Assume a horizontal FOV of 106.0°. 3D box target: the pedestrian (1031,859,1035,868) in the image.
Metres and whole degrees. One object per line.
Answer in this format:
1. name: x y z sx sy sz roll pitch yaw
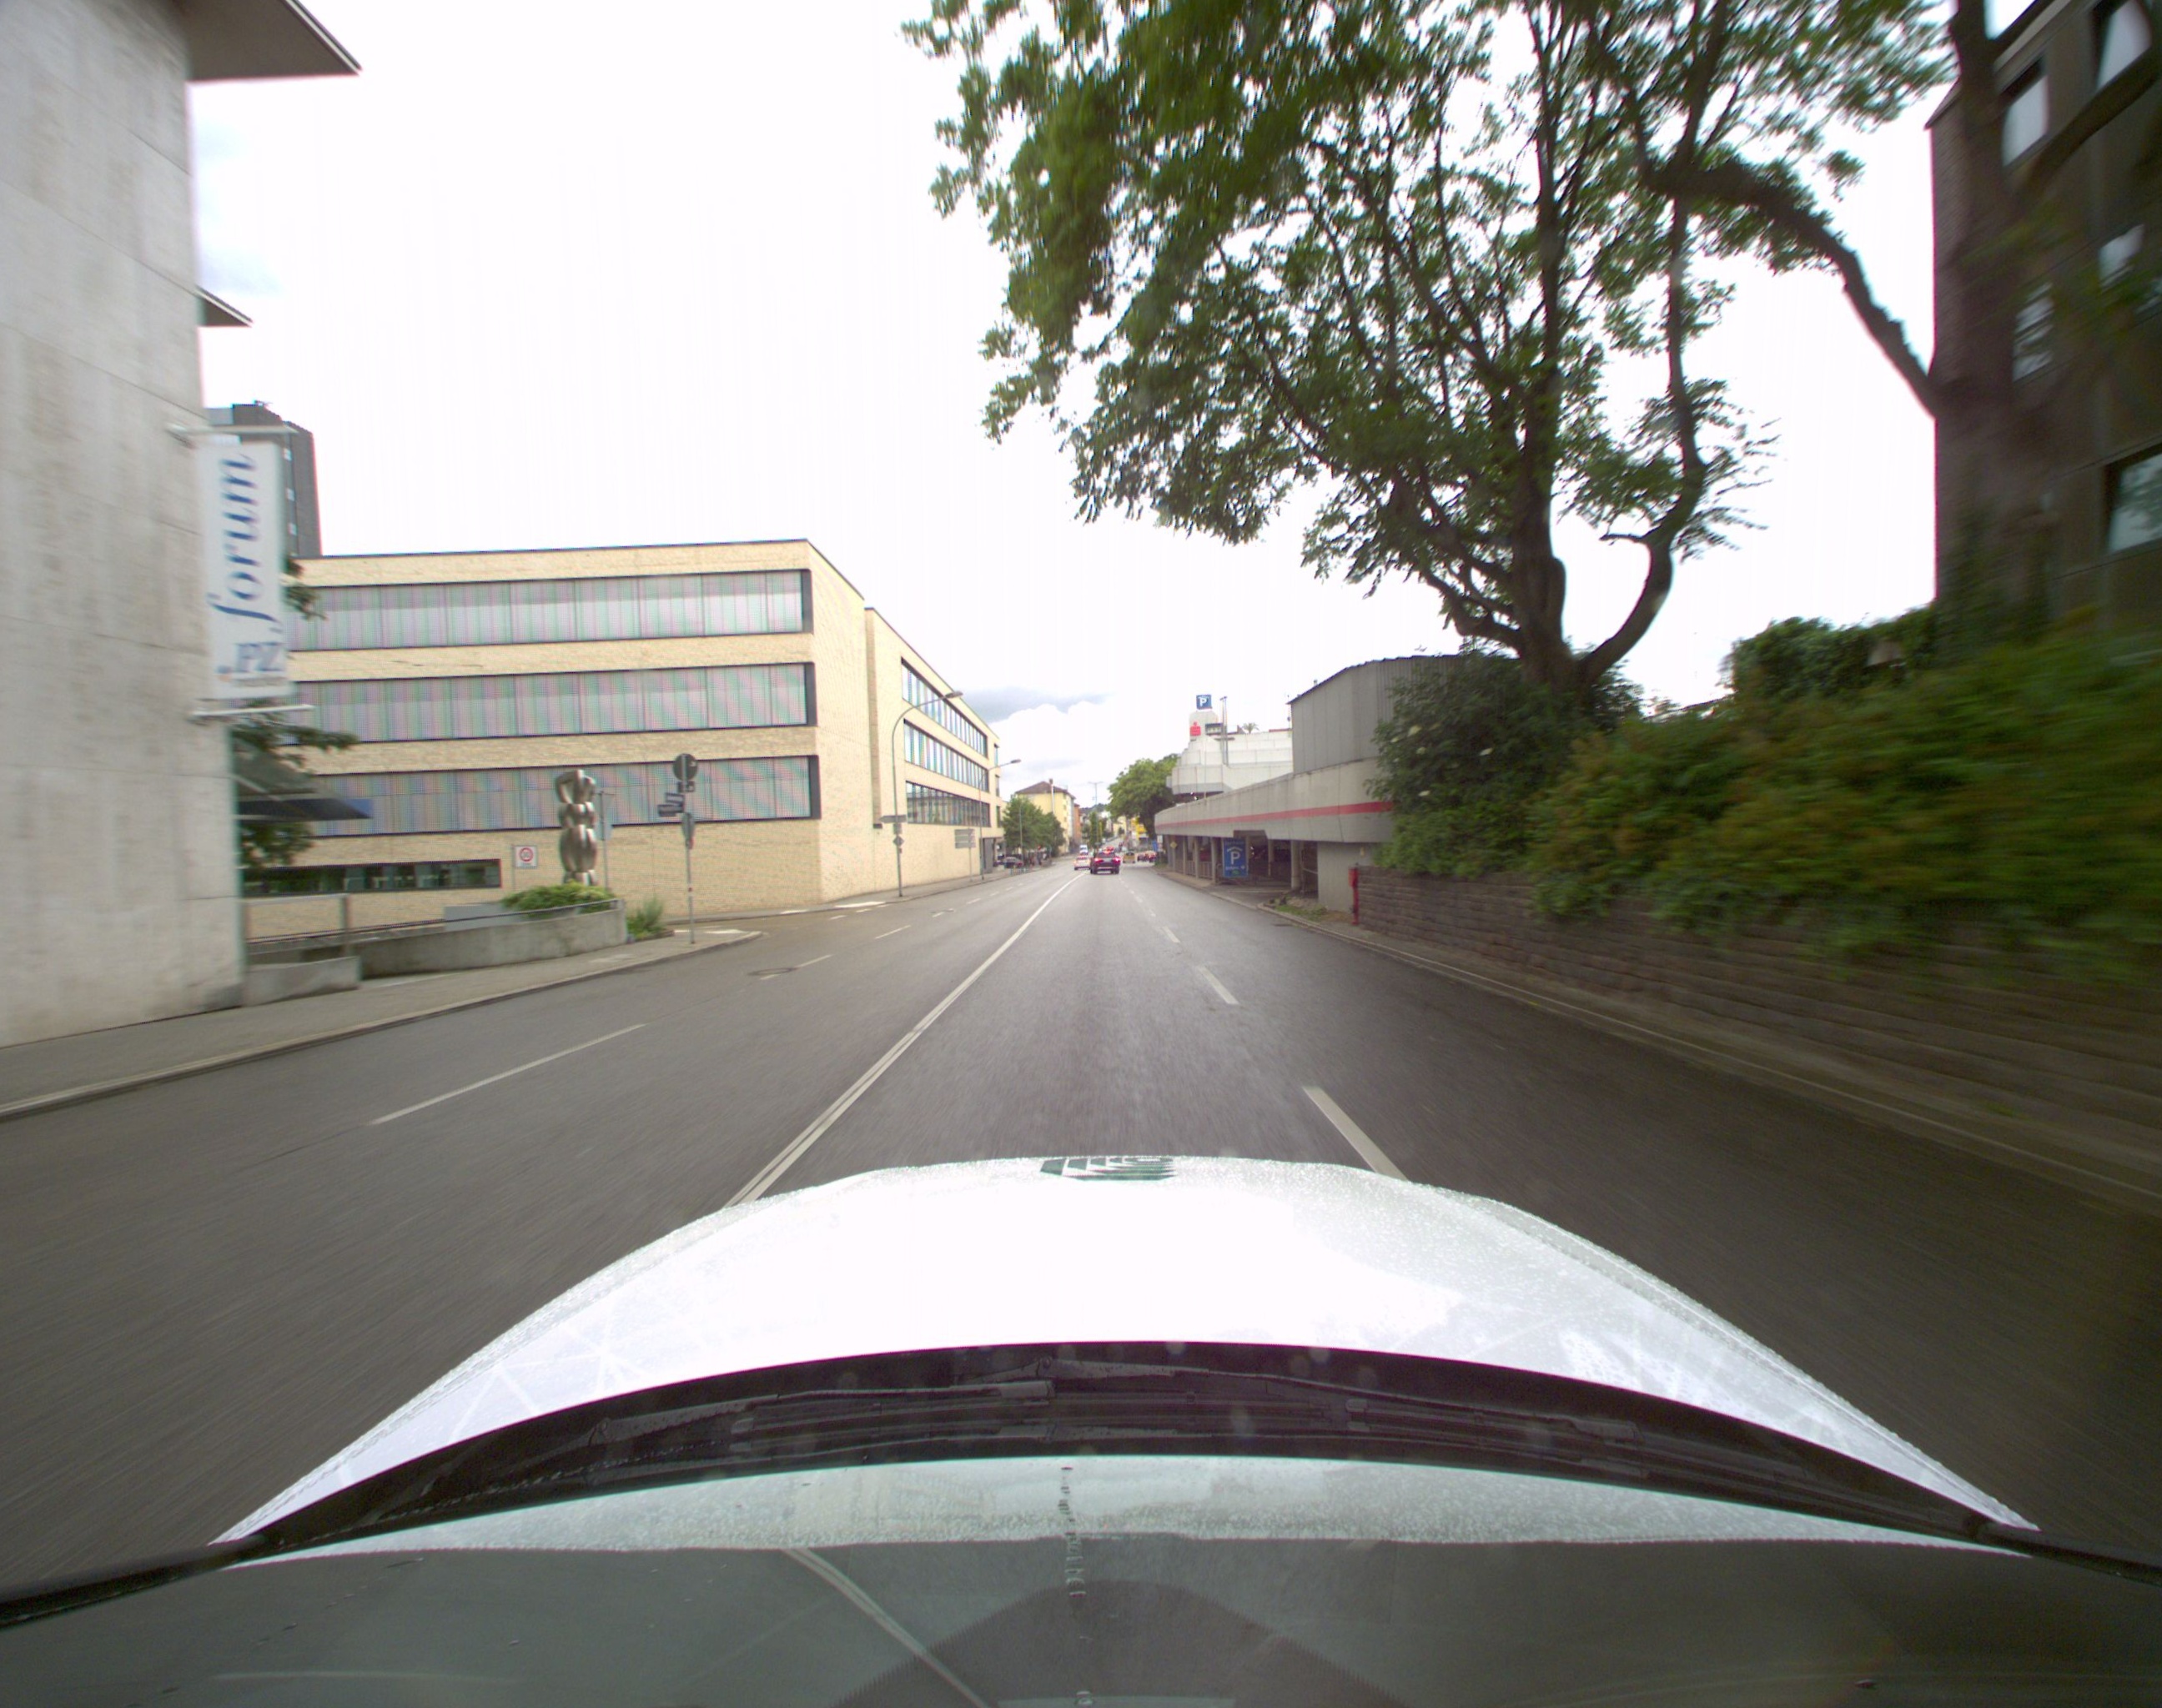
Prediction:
1. pedestrian: -6.896 1.380 116.495 0.450 1.278 0.456 -2 0 12

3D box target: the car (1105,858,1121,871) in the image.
1. car: 4.623 1.458 116.519 1.983 1.680 4.008 -2 0 7

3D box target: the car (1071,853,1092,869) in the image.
1. car: 0.047 0.734 87.605 1.989 1.680 3.995 -2 0 -3

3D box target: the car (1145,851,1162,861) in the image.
1. car: 12.210 0.311 137.003 1.979 1.680 4.016 -2 0 15

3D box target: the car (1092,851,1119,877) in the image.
1. car: 1.999 0.784 64.958 2.083 1.910 4.102 -2 0 2

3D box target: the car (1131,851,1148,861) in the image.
1. car: 10.340 0.289 143.740 1.977 1.680 4.019 -2 0 19

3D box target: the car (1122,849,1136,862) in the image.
1. car: 7.885 0.290 133.794 2.164 2.004 4.003 -2 0 2

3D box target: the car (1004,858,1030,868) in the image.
1. car: -9.141 1.263 117.059 3.648 1.235 1.439 -2 0 -5

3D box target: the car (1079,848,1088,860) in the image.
1. car: 0.641 -0.018 213.243 2.178 3.098 4.926 -2 0 -2

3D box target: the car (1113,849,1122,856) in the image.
1. car: 9.933 -0.433 221.769 1.988 1.679 3.998 -2 1 -1

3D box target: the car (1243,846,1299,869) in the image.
1. car: 13.366 0.262 57.346 3.694 1.475 1.692 -2 0 12
